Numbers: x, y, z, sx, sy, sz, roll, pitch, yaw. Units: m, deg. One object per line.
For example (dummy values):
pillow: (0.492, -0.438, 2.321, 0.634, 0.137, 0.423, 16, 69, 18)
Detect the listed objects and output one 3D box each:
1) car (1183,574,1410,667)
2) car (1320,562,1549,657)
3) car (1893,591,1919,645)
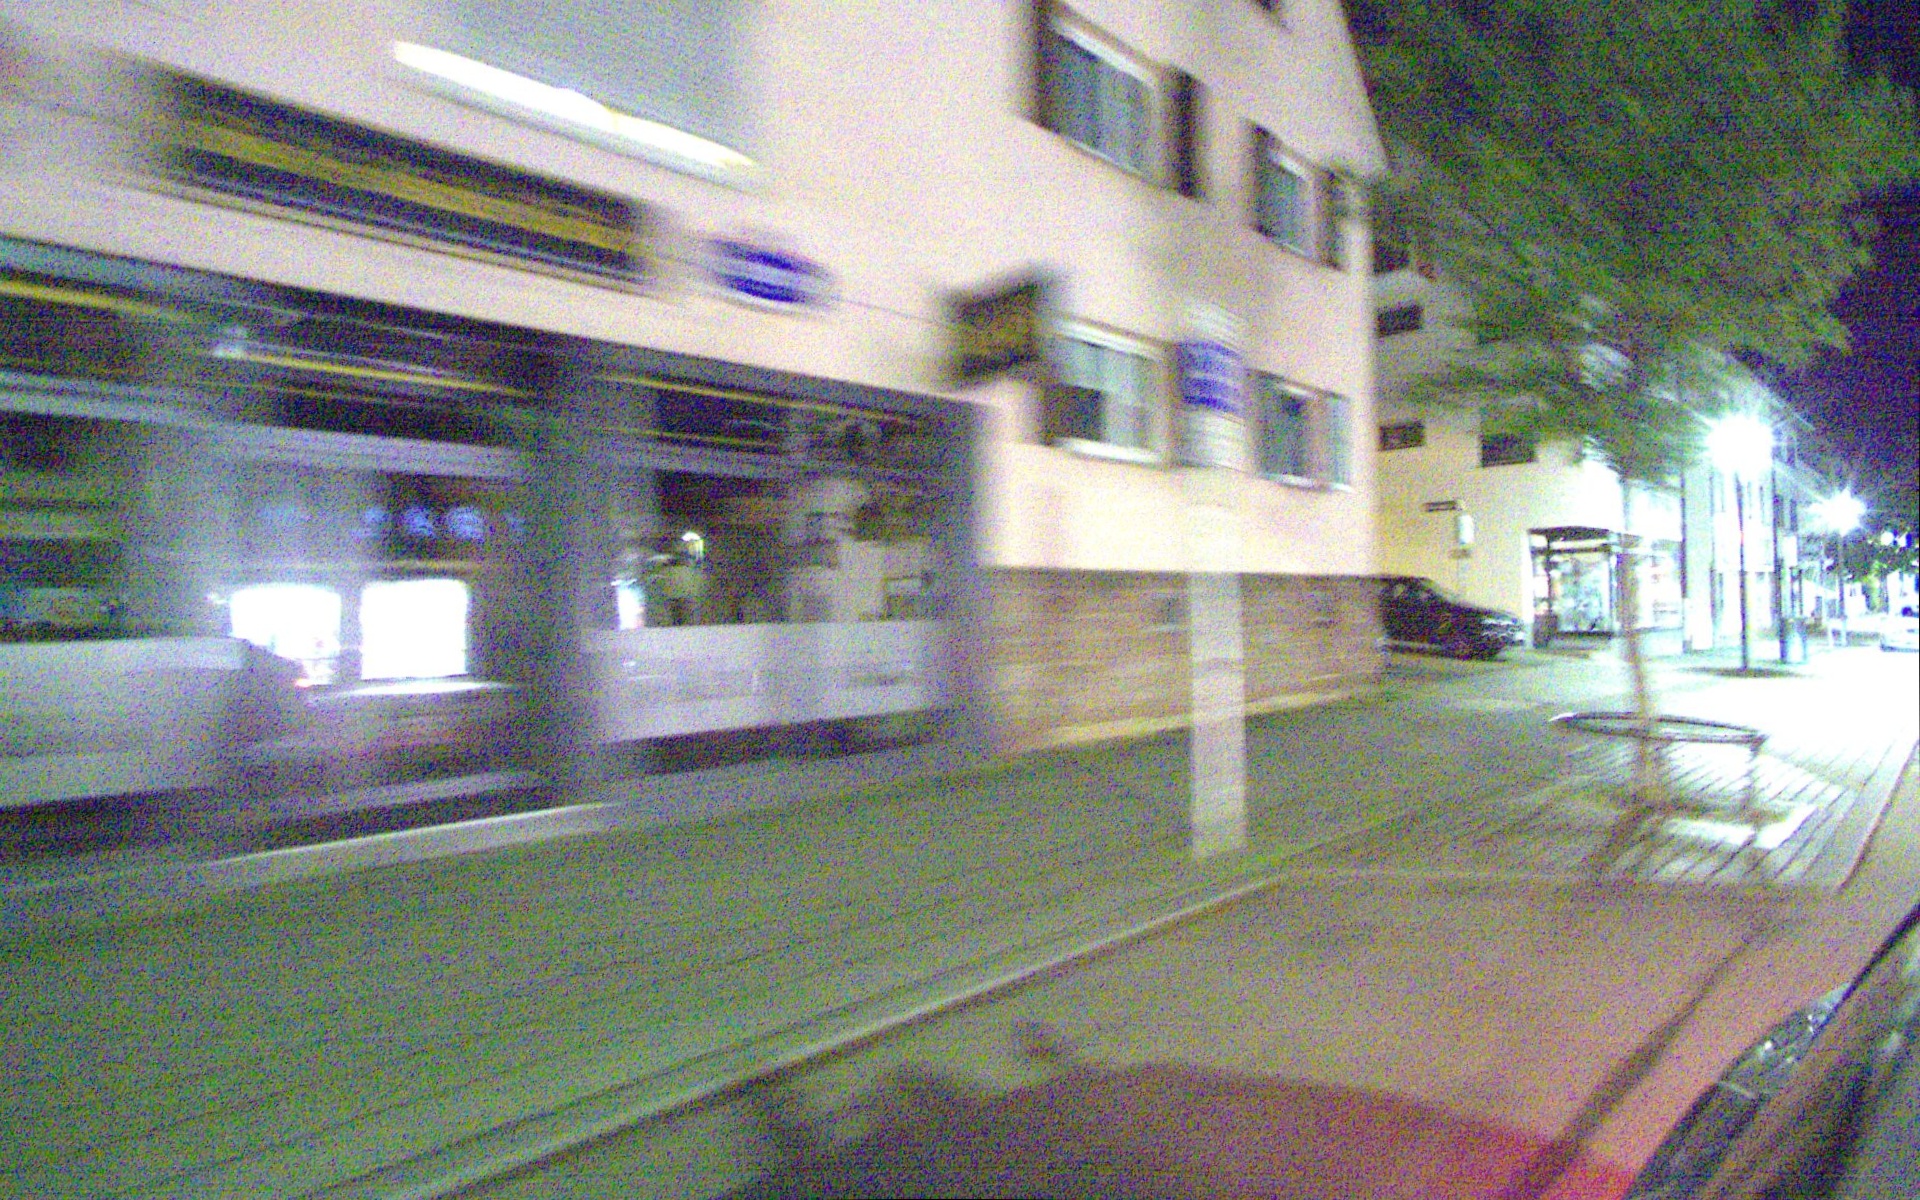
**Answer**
car: (5.864, 0.291, 17.860, 1.618, 1.298, 3.398, 0, 4, -44)
car: (9.739, 0.125, 20.981, 1.618, 1.607, 3.910, 0, 4, -44)
car: (28.265, 0.488, 29.332, 3.638, 1.502, 1.603, 0, 0, -44)
